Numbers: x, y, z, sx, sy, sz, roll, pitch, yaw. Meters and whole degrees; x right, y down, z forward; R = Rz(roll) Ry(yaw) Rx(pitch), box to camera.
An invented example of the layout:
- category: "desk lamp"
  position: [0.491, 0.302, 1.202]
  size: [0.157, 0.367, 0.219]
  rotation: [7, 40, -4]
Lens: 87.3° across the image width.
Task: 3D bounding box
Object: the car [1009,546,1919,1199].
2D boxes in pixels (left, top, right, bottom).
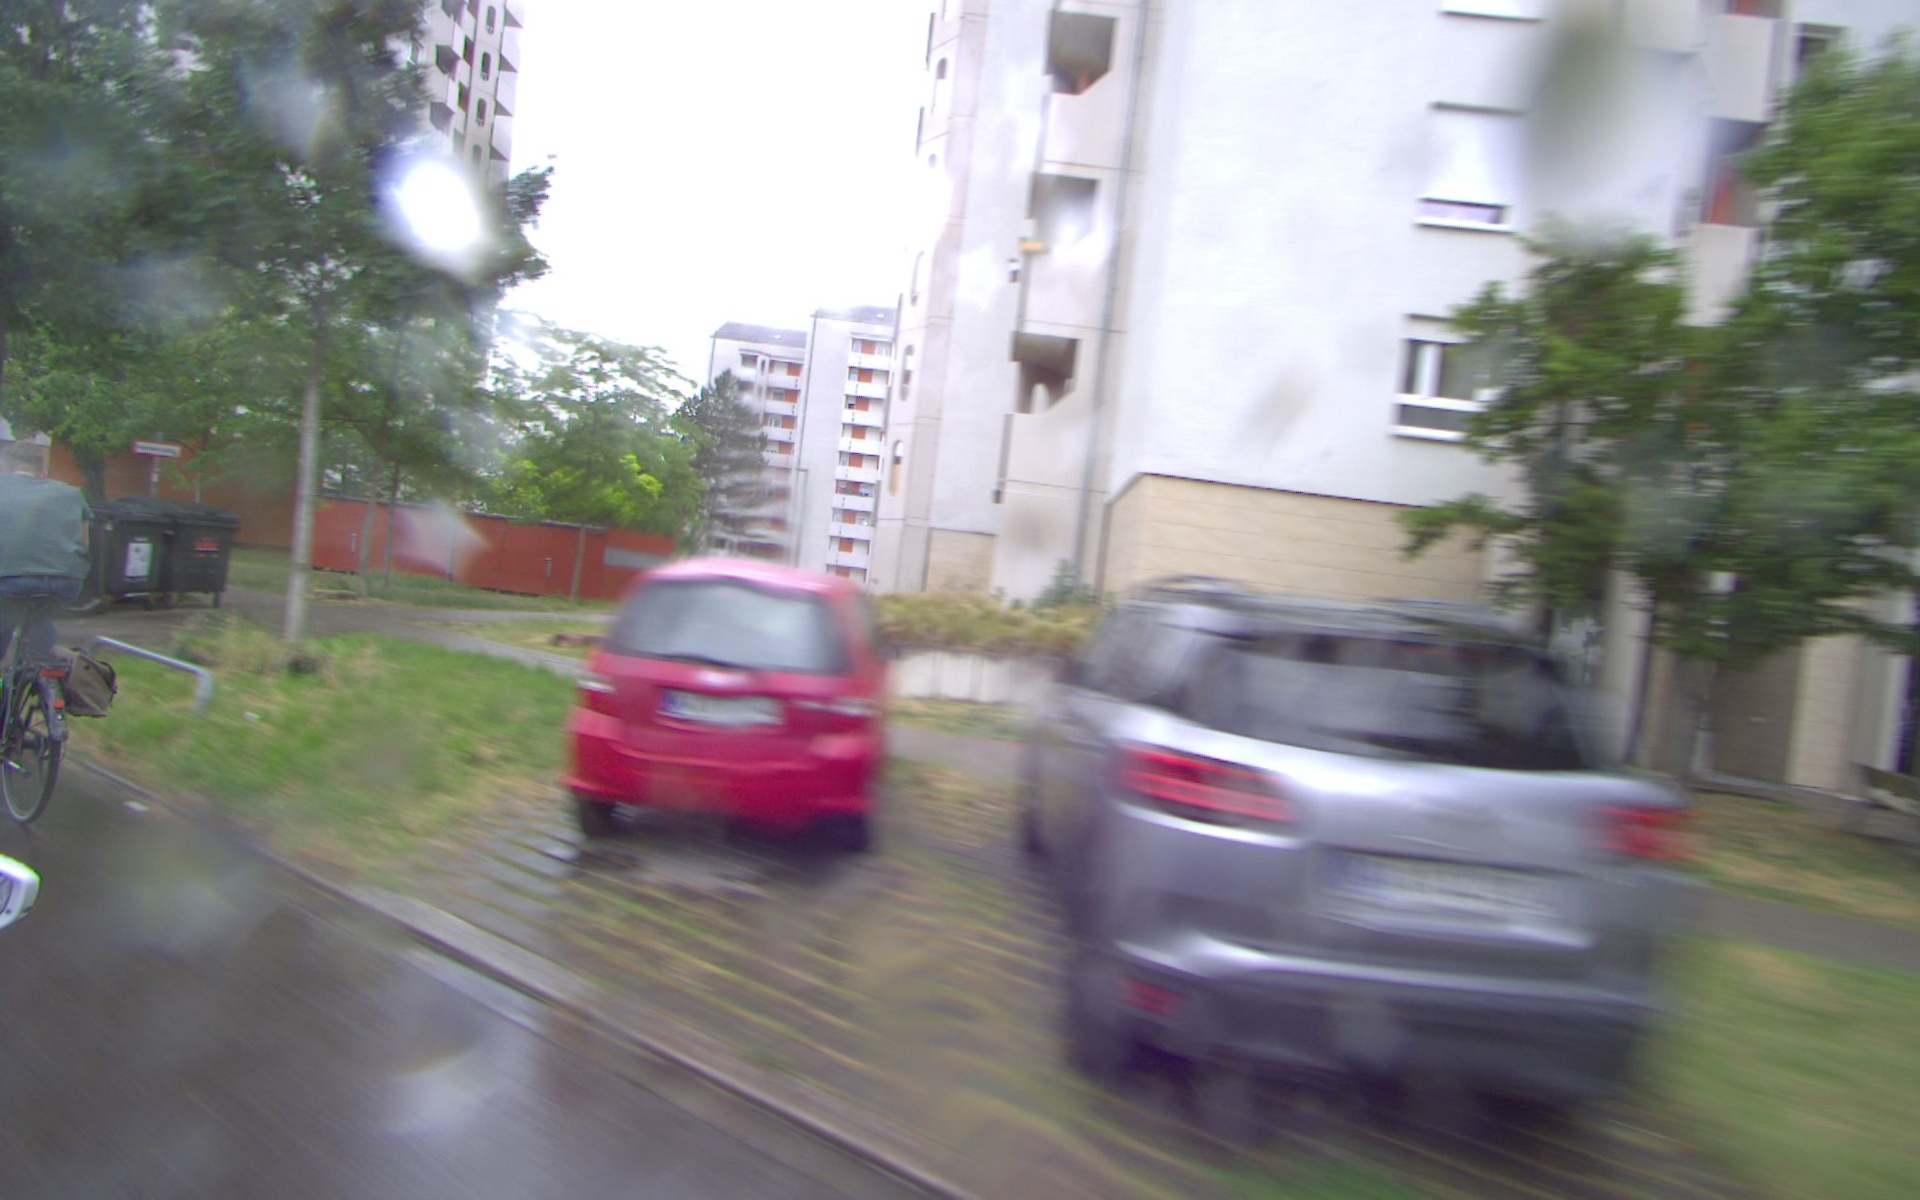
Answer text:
- category: "car"
  position: [1.390, 0.756, 4.633]
  size: [1.963, 1.742, 4.142]
  rotation: [7, 3, 0]

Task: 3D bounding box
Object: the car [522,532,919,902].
- category: "car"
  position: [-1.264, 0.487, 6.670]
  size: [1.702, 1.588, 3.879]
  rotation: [6, 2, -5]

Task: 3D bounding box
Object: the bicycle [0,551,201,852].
- category: "bicycle"
  position: [-4.842, 0.365, 4.929]
  size: [2.474, 1.111, 0.810]
  rotation: [7, 1, 29]

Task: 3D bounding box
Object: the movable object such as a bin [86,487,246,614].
- category: "movable object such as a bin"
  position: [-10.781, -0.648, 13.716]
  size: [1.068, 1.540, 1.247]
  rotation: [6, 2, 4]

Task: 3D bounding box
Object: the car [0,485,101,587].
- category: "car"
  position: [-15.651, -1.090, 15.112]
  size: [1.843, 1.538, 4.225]
  rotation: [7, 0, -2]

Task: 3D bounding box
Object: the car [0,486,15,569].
- category: "car"
  position: [-18.402, -1.419, 16.729]
  size: [1.556, 1.538, 4.038]
  rotation: [7, 0, -2]

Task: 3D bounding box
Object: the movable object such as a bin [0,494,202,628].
- category: "movable object such as a bin"
  position: [-10.194, -0.459, 11.677]
  size: [1.374, 1.344, 1.685]
  rotation: [7, 3, 11]

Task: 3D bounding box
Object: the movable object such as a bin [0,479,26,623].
- category: "movable object such as a bin"
  position: [-10.698, -0.550, 10.248]
  size: [1.374, 1.479, 1.126]
  rotation: [7, 6, 11]

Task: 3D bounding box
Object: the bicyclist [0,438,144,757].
- category: "bicyclist"
  position: [-4.761, -0.053, 4.893]
  size: [1.042, 1.451, 0.810]
  rotation: [7, 2, 28]
